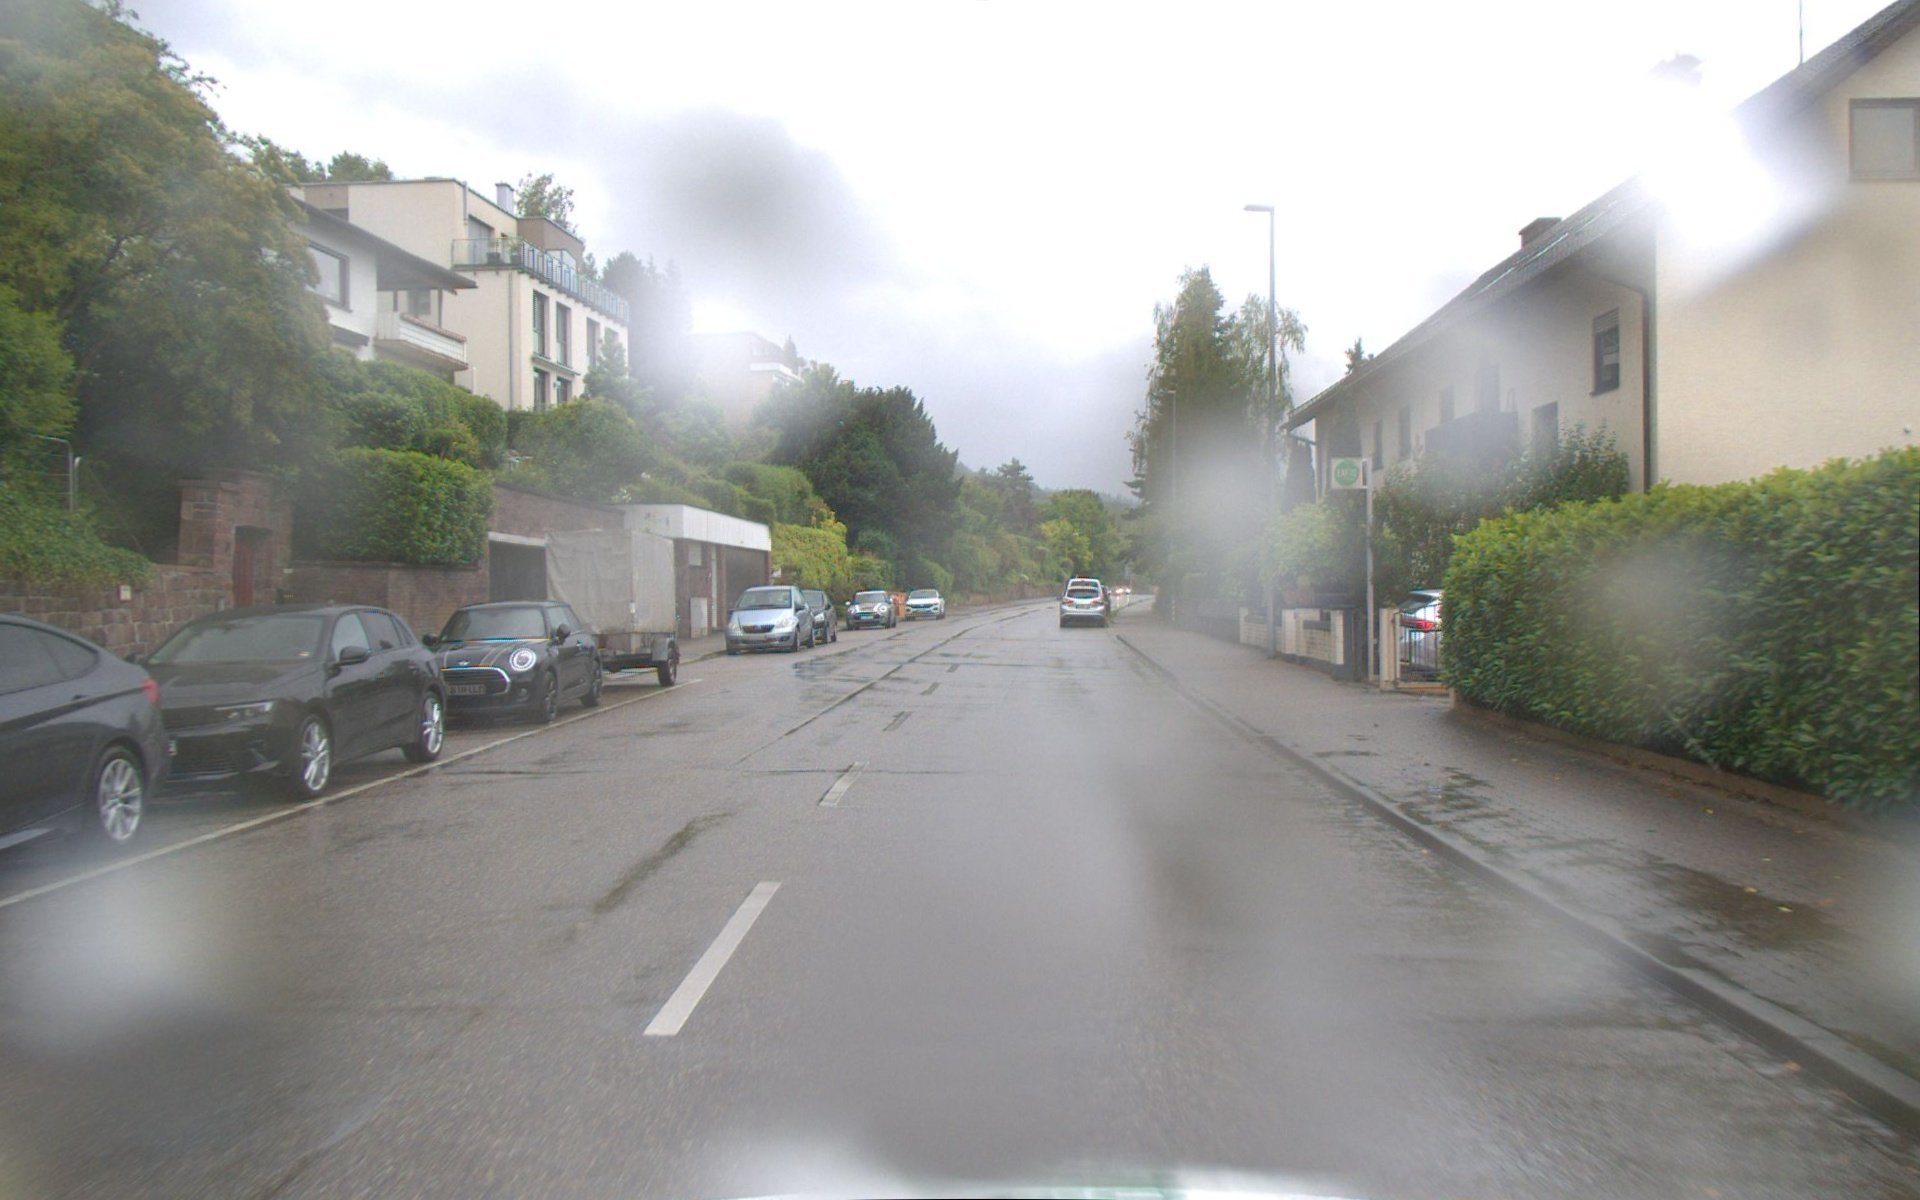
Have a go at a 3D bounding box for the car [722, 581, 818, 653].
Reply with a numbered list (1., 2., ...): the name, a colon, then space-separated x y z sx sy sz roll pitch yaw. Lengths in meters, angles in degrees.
1. car: -4.641 0.375 40.869 1.719 1.566 3.758 -4 1 2

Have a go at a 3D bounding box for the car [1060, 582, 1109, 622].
1. car: 4.844 0.056 63.919 1.751 1.485 4.311 0 0 6

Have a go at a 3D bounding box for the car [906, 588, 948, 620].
1. car: -1.623 0.176 82.656 1.719 1.524 4.222 -2 0 3

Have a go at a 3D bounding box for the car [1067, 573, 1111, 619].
1. car: 5.445 -0.173 69.335 1.747 1.821 4.364 0 0 6

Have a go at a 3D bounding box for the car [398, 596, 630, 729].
1. car: -5.408 0.706 20.547 1.771 1.373 3.776 -2 1 1

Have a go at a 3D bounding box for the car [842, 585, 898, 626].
1. car: -3.424 0.188 63.693 1.719 1.427 3.771 -3 0 2

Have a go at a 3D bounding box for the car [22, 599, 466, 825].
1. car: -5.636 0.783 13.682 1.749 1.439 4.218 -2 1 1

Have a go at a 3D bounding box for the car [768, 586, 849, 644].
1. car: -4.211 0.383 46.457 1.719 1.433 3.706 -4 1 2

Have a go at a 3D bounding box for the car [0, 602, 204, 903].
1. car: -5.754 0.841 8.253 1.749 1.480 4.755 -3 1 -1

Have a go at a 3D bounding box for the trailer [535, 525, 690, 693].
1. trailer: -5.465 0.112 26.339 1.504 2.441 3.074 -3 1 4

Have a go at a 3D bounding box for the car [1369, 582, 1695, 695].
1. car: 8.249 0.530 24.085 4.135 1.471 1.702 1 1 0
